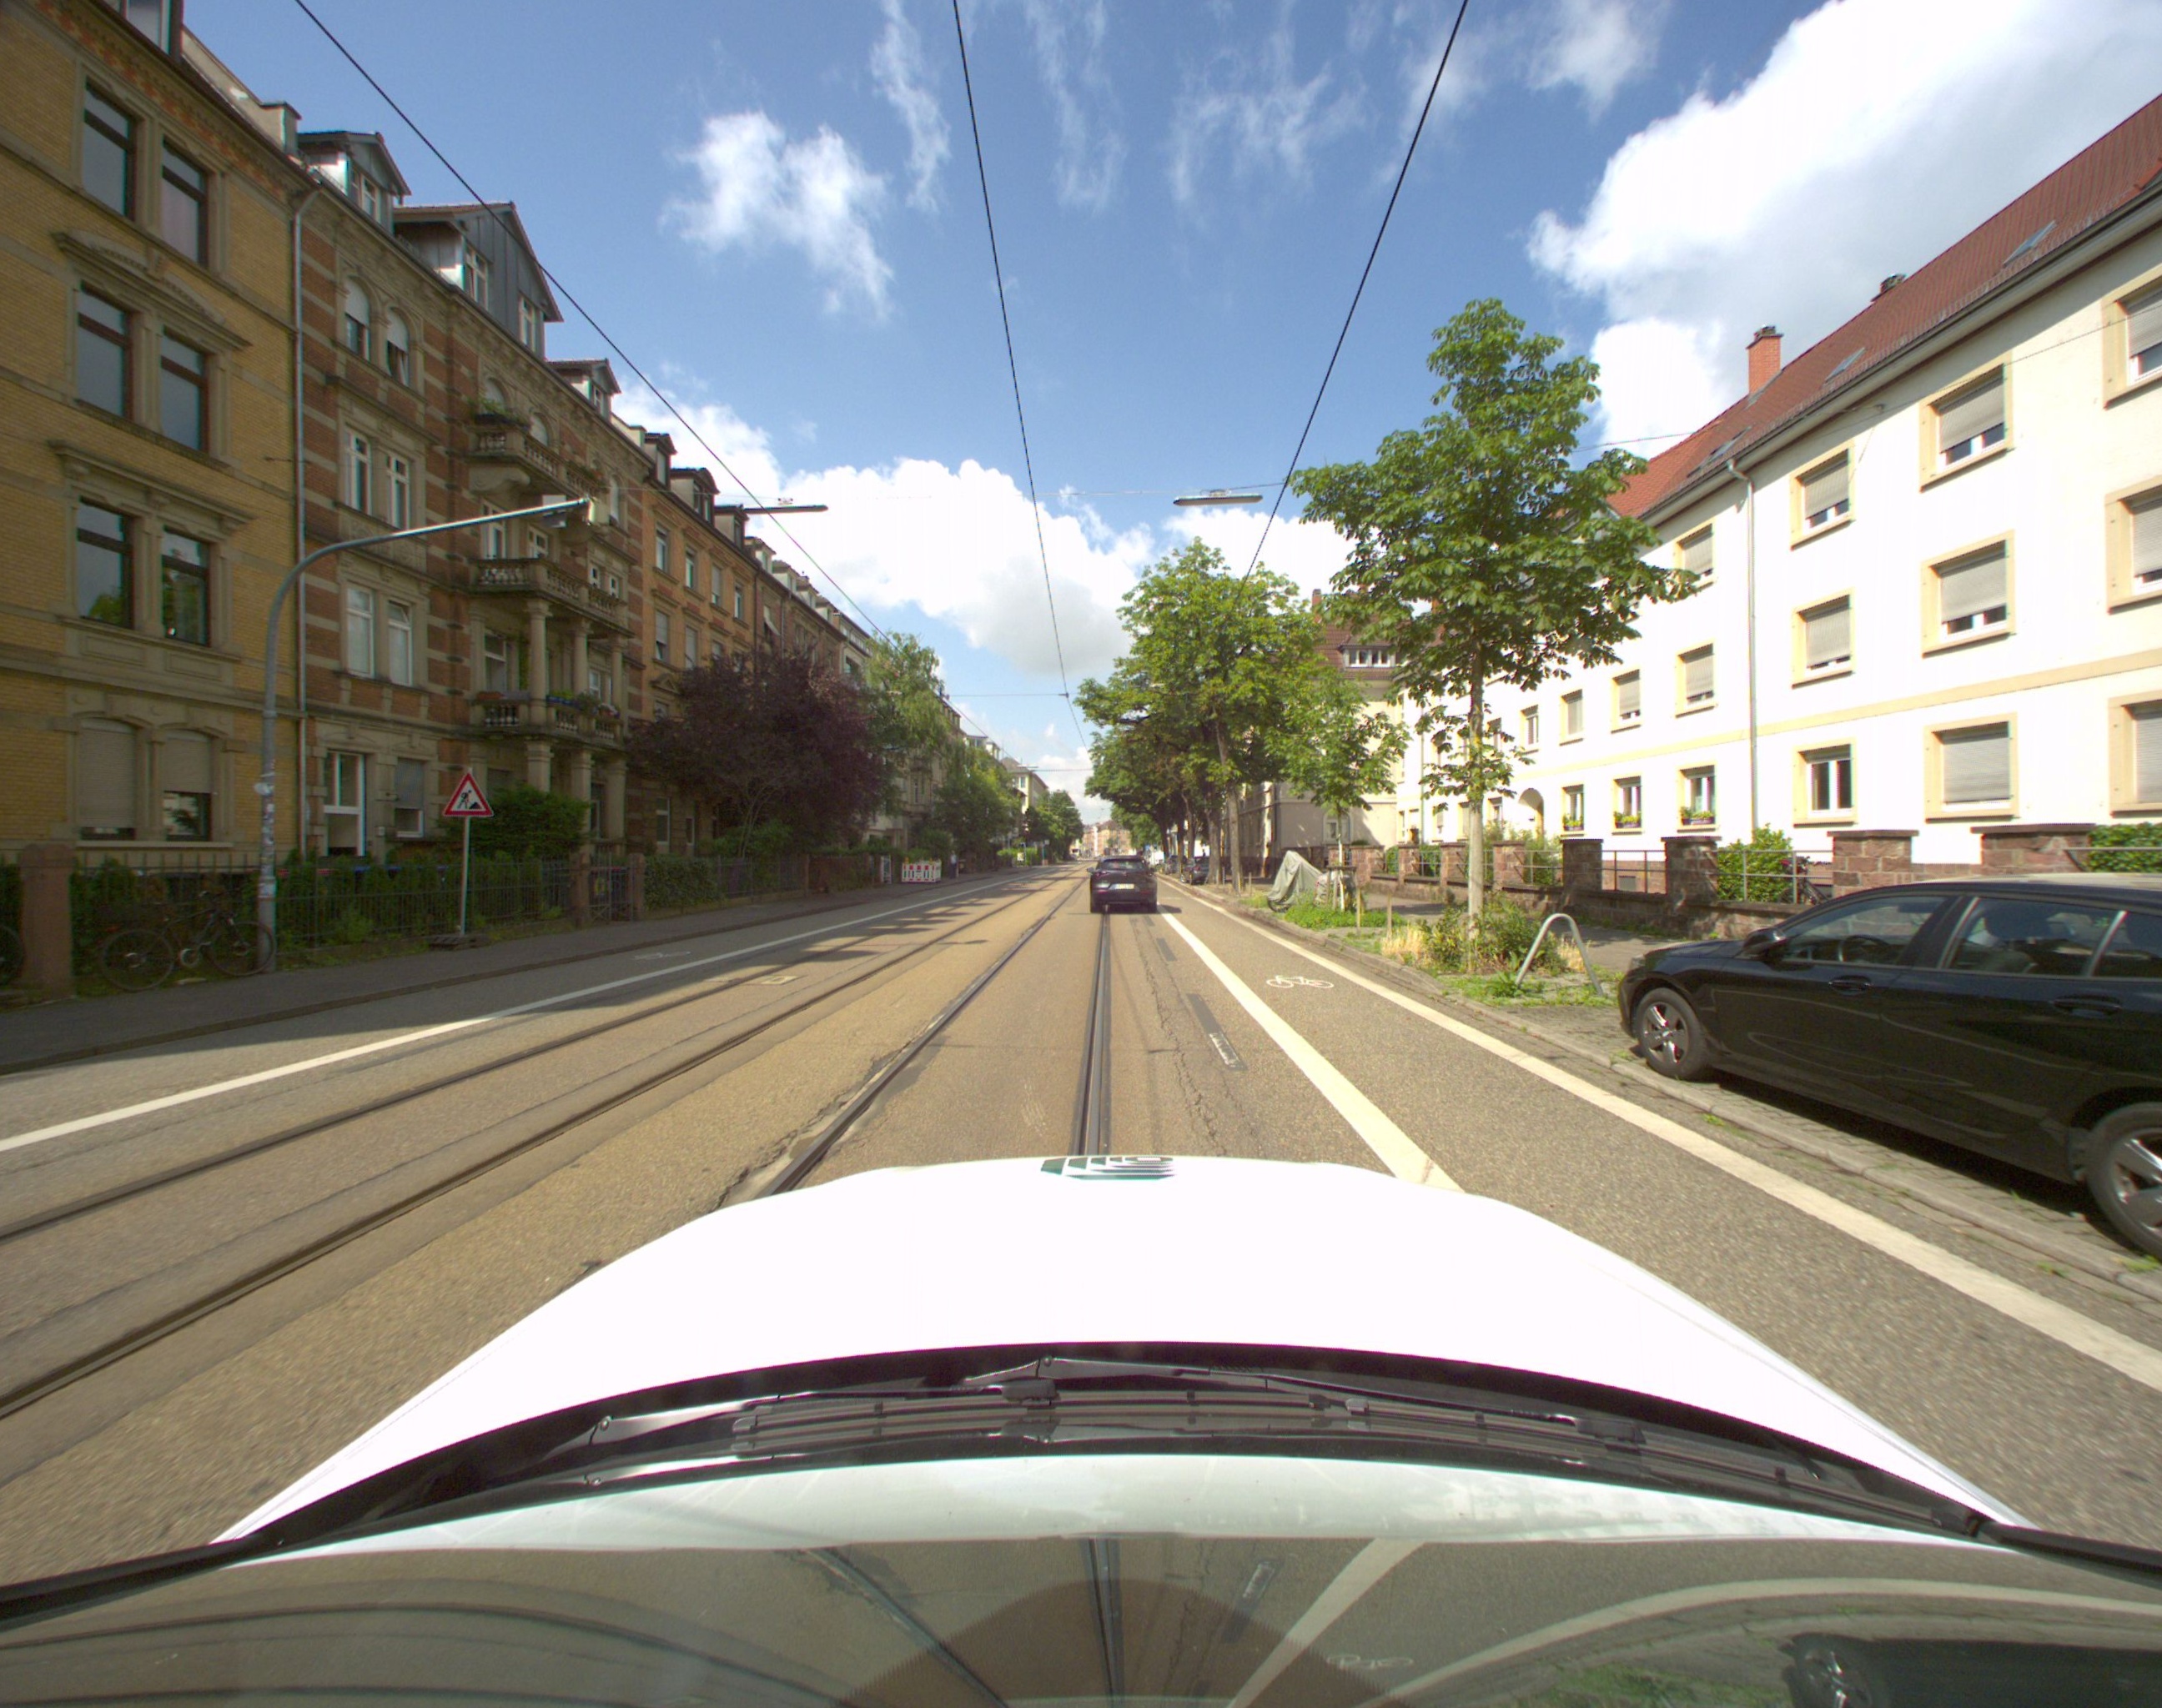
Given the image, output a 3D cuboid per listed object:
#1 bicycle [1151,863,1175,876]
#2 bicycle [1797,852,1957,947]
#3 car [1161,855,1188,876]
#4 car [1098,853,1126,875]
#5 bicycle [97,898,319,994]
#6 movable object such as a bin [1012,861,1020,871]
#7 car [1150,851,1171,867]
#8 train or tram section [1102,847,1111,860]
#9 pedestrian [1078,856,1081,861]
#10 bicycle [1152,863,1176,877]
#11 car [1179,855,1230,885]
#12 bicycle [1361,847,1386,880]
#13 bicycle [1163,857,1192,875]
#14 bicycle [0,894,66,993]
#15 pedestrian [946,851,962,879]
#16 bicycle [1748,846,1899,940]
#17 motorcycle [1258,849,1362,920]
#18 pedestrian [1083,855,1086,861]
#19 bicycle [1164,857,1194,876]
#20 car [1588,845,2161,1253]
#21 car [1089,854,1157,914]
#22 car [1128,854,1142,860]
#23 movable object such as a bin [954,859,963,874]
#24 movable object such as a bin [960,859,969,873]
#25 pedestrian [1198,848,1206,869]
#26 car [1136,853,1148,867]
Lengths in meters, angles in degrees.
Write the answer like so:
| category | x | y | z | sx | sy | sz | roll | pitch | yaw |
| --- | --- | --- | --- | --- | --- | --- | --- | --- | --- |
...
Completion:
| category | x | y | z | sx | sy | sz | roll | pitch | yaw |
| --- | --- | --- | --- | --- | --- | --- | --- | --- | --- |
| bicycle | 6.581 | 1.242 | 65.290 | 1.896 | 1.072 | 0.402 | 0 | -1 | 2 |
| bicycle | 10.947 | 0.580 | 11.285 | 0.597 | 1.211 | 1.705 | -1 | 0 | 2 |
| car | 6.925 | 0.826 | 60.393 | 1.659 | 1.430 | 3.768 | -3 | 0 | 2 |
| car | 2.306 | 0.725 | 61.622 | 1.986 | 1.529 | 4.001 | 2 | 0 | 2 |
| bicycle | -10.444 | 1.056 | 9.867 | 0.528 | 0.946 | 1.969 | -1 | 0 | 2 |
| movable object such as a bin | -7.204 | 1.342 | 90.582 | 0.742 | 0.988 | 1.114 | 2 | 0 | 2 |
| car | 9.953 | 0.548 | 101.701 | 1.783 | 1.938 | 4.984 | -1 | 0 | -4 |
| train or tram section | 7.921 | -0.175 | 255.727 | 2.561 | 3.772 | 13.034 | -1 | 0 | 3 |
| pedestrian | -0.321 | 1.376 | 232.445 | 0.749 | 1.510 | 0.823 | 0 | 0 | -3 |
| bicycle | 6.586 | 1.251 | 64.797 | 1.896 | 1.072 | 0.402 | 0 | -1 | 2 |
| car | 6.364 | 0.805 | 42.406 | 1.841 | 1.409 | 4.392 | -2 | 0 | -1 |
| bicycle | 10.978 | 0.338 | 30.592 | 0.410 | 1.211 | 1.705 | -1 | 0 | 3 |
| bicycle | 6.594 | 0.850 | 55.823 | 1.880 | 1.176 | 0.515 | -2 | -1 | 13 |
| bicycle | -11.623 | 0.906 | 8.226 | 1.957 | 0.946 | 0.531 | -1 | 0 | -3 |
| pedestrian | -8.030 | 0.688 | 51.518 | 0.820 | 1.706 | 0.891 | -1 | -1 | -1 |
| bicycle | 10.242 | 0.501 | 11.324 | 0.597 | 1.211 | 1.705 | -1 | 0 | 2 |
| motorcycle | 5.535 | 0.700 | 19.811 | 2.357 | 1.597 | 0.683 | 2 | 1 | 40 |
| pedestrian | 1.196 | 1.283 | 256.909 | 0.882 | 2.014 | 0.617 | 0 | 0 | -2 |
| bicycle | 6.648 | 0.847 | 55.198 | 1.923 | 1.176 | 0.515 | -2 | -1 | 13 |
| car | 4.837 | 0.739 | 4.379 | 1.700 | 1.479 | 4.198 | 2 | 0 | 2 |
| car | 1.129 | 0.772 | 22.684 | 1.714 | 1.526 | 3.591 | 0 | 0 | 2 |
| car | 16.215 | 0.899 | 243.384 | 3.814 | 1.618 | 1.629 | 2 | 0 | -16 |
| movable object such as a bin | -9.678 | 0.982 | 64.251 | 0.546 | 1.108 | 0.791 | 0 | 0 | 6 |
| movable object such as a bin | -9.171 | 0.933 | 64.074 | 0.535 | 1.094 | 0.791 | 0 | 0 | 7 |
| pedestrian | 10.731 | 0.402 | 72.271 | 0.608 | 1.836 | 0.878 | -1 | -2 | 0 |
| car | 8.867 | 0.831 | 118.396 | 1.714 | 1.968 | 4.210 | 0 | 0 | 3 |
